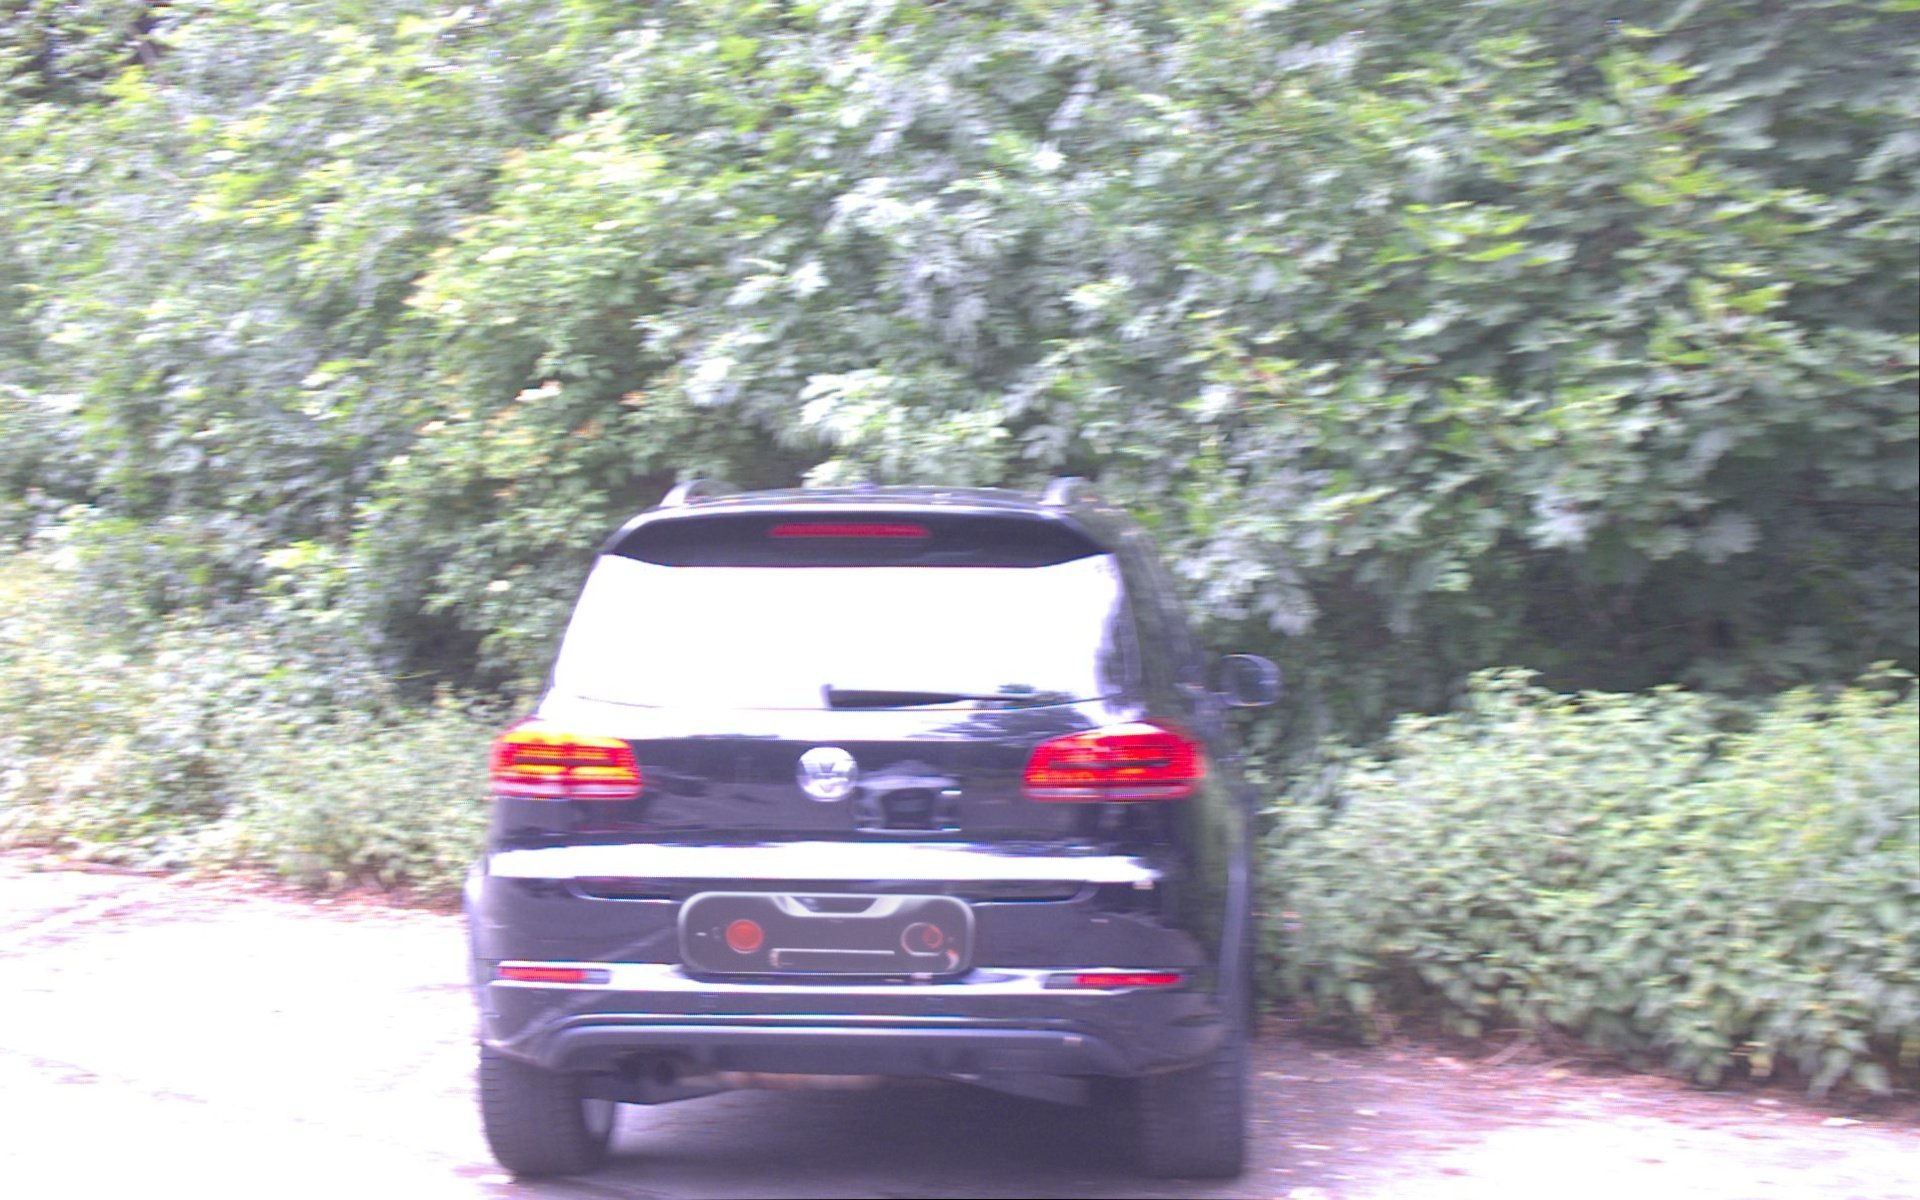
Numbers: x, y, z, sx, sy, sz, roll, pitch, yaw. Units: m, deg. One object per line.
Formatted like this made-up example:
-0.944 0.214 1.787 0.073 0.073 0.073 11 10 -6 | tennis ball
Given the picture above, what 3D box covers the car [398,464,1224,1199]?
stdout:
-0.175 0.527 9.404 1.779 1.679 4.071 0 1 4 | car
